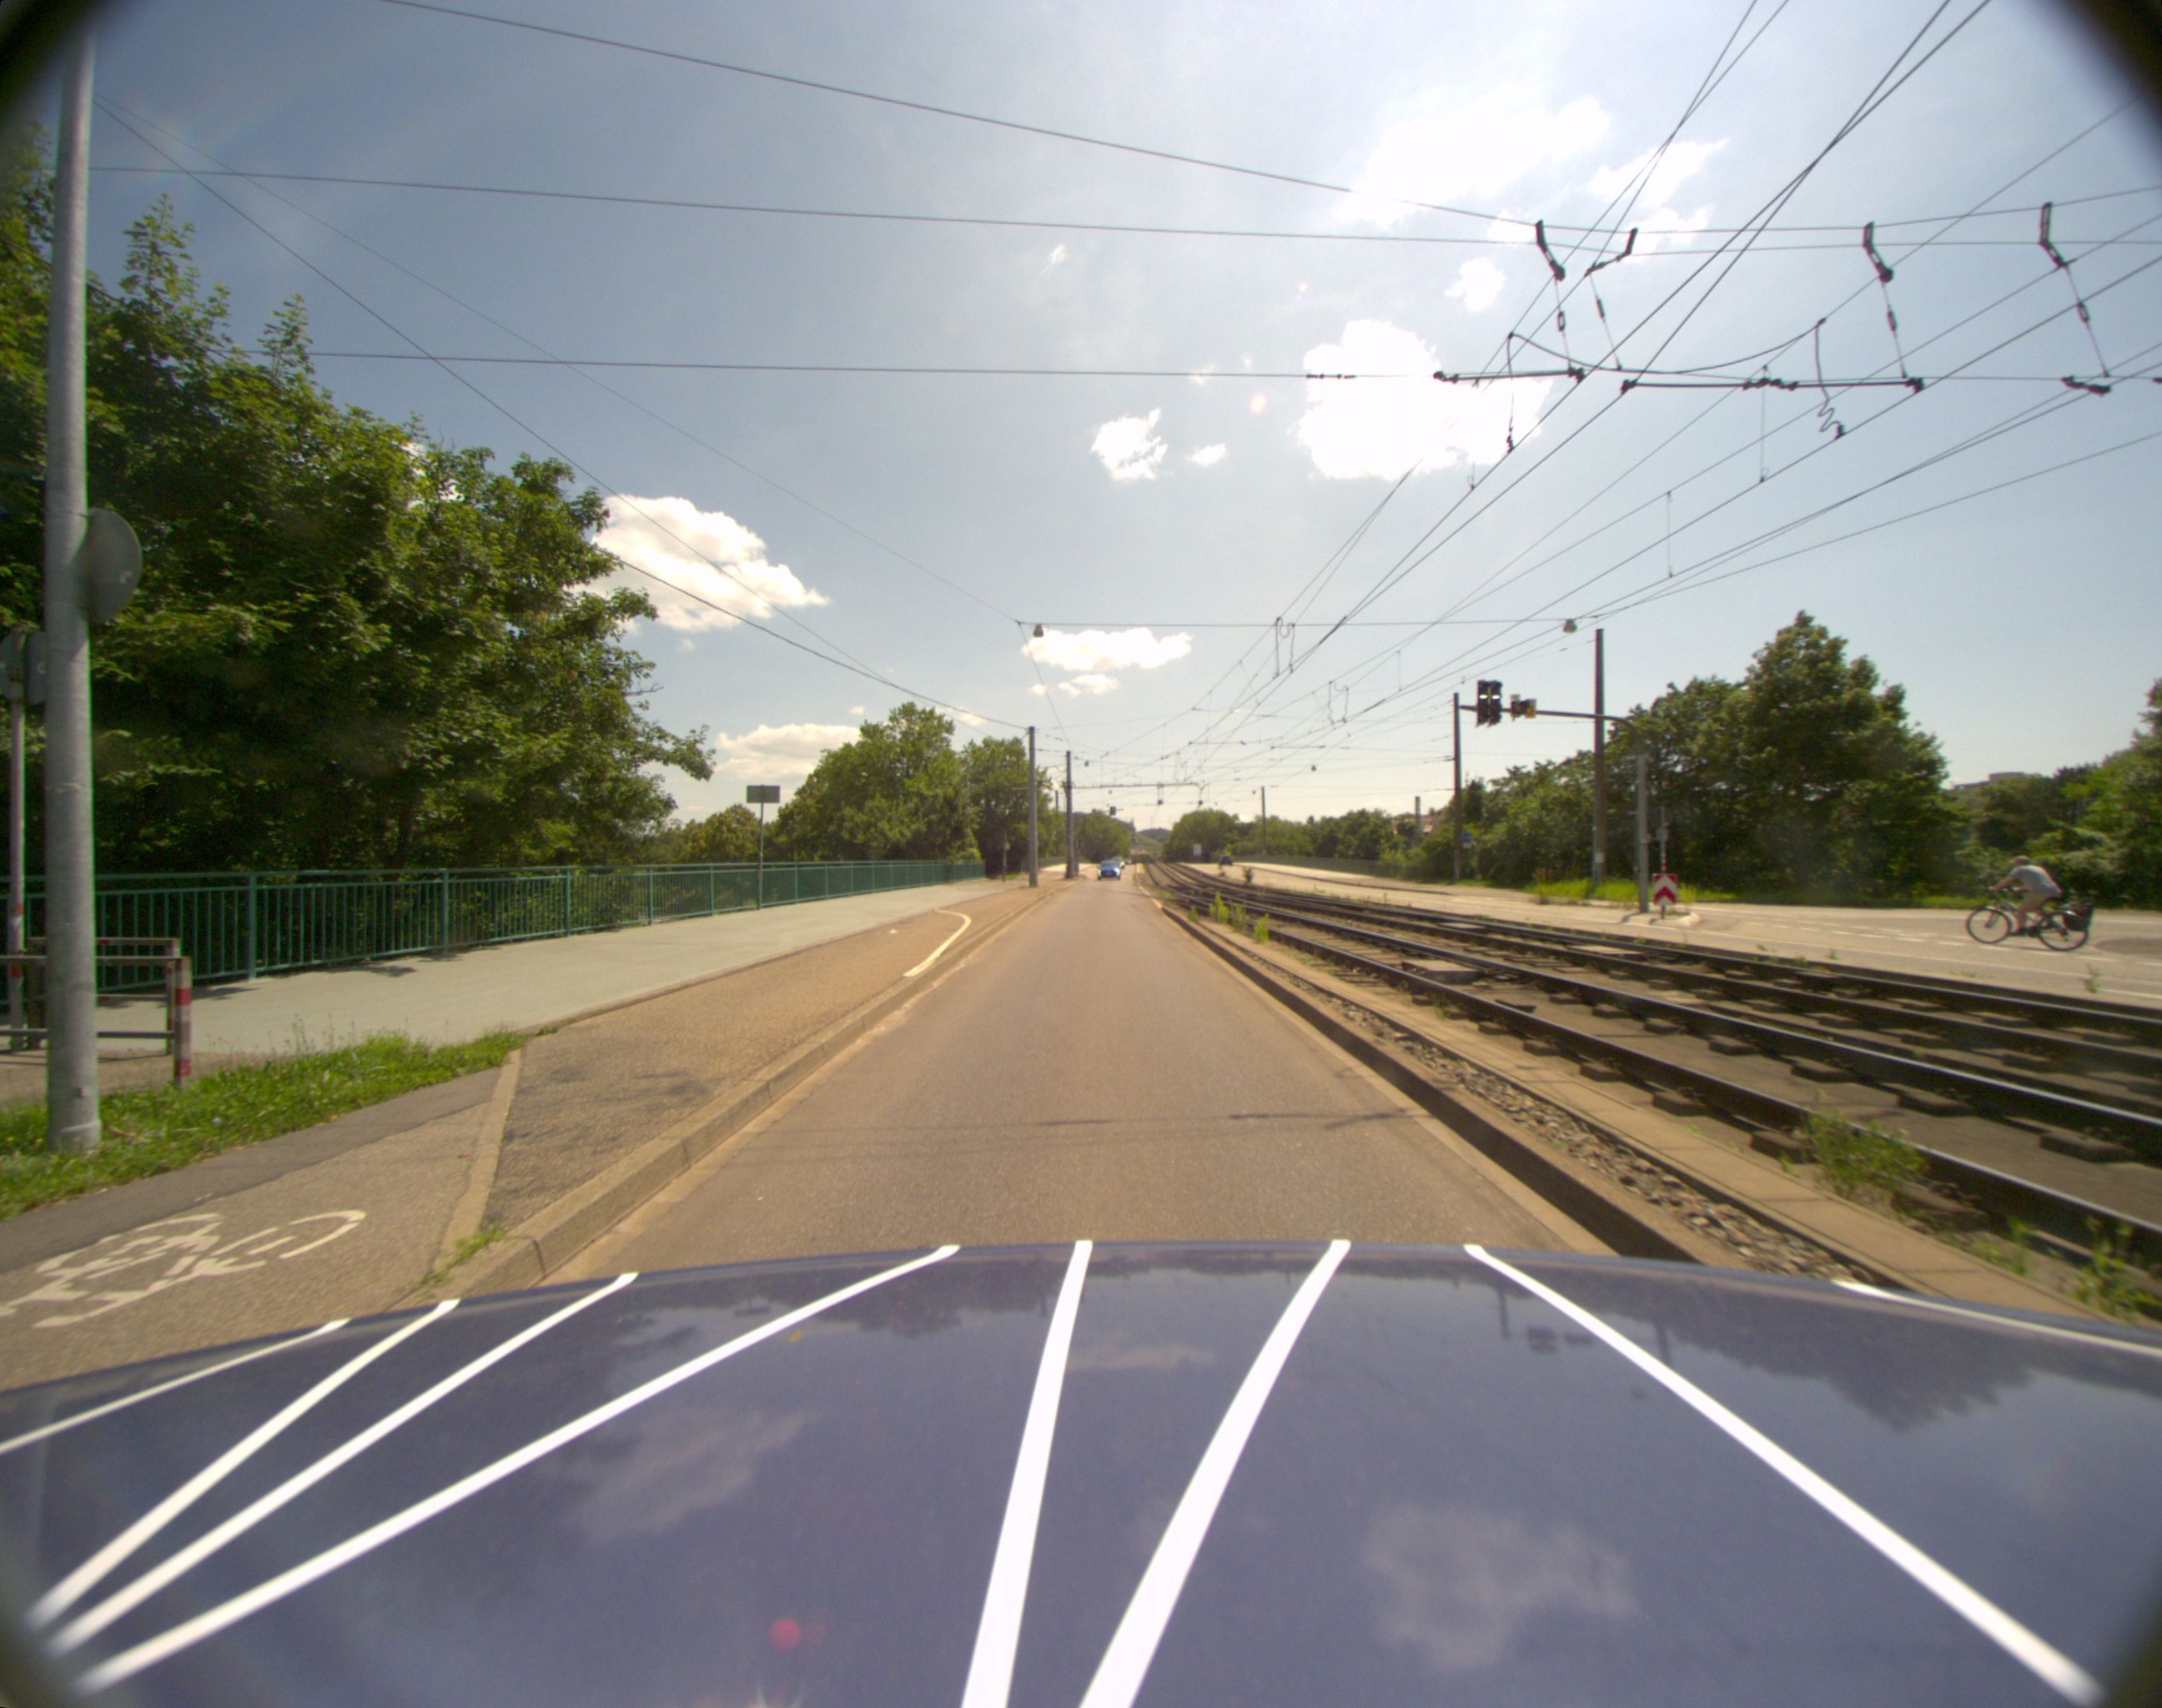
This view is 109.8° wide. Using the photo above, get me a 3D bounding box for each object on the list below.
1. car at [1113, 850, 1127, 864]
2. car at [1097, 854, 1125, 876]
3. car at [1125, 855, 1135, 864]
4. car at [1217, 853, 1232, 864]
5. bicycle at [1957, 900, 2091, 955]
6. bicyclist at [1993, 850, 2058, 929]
[{"bbox_3d":[4.914,0.392,96.820,1.683,1.737,3.686,-2,-1,2],"label":"car"},{"bbox_3d":[2.334,0.855,58.307,1.864,1.630,4.003,-2,-1,6],"label":"car"},{"bbox_3d":[10.230,1.160,158.922,1.730,1.696,4.000,0,0,1],"label":"car"},{"bbox_3d":[19.622,0.569,103.880,1.708,1.501,3.734,0,0,5],"label":"car"},{"bbox_3d":[17.889,1.367,14.476,0.470,0.863,1.743,-1,0,3],"label":"bicycle"},{"bbox_3d":[17.866,0.653,14.384,0.457,1.465,0.633,-1,1,3],"label":"bicyclist"}]
